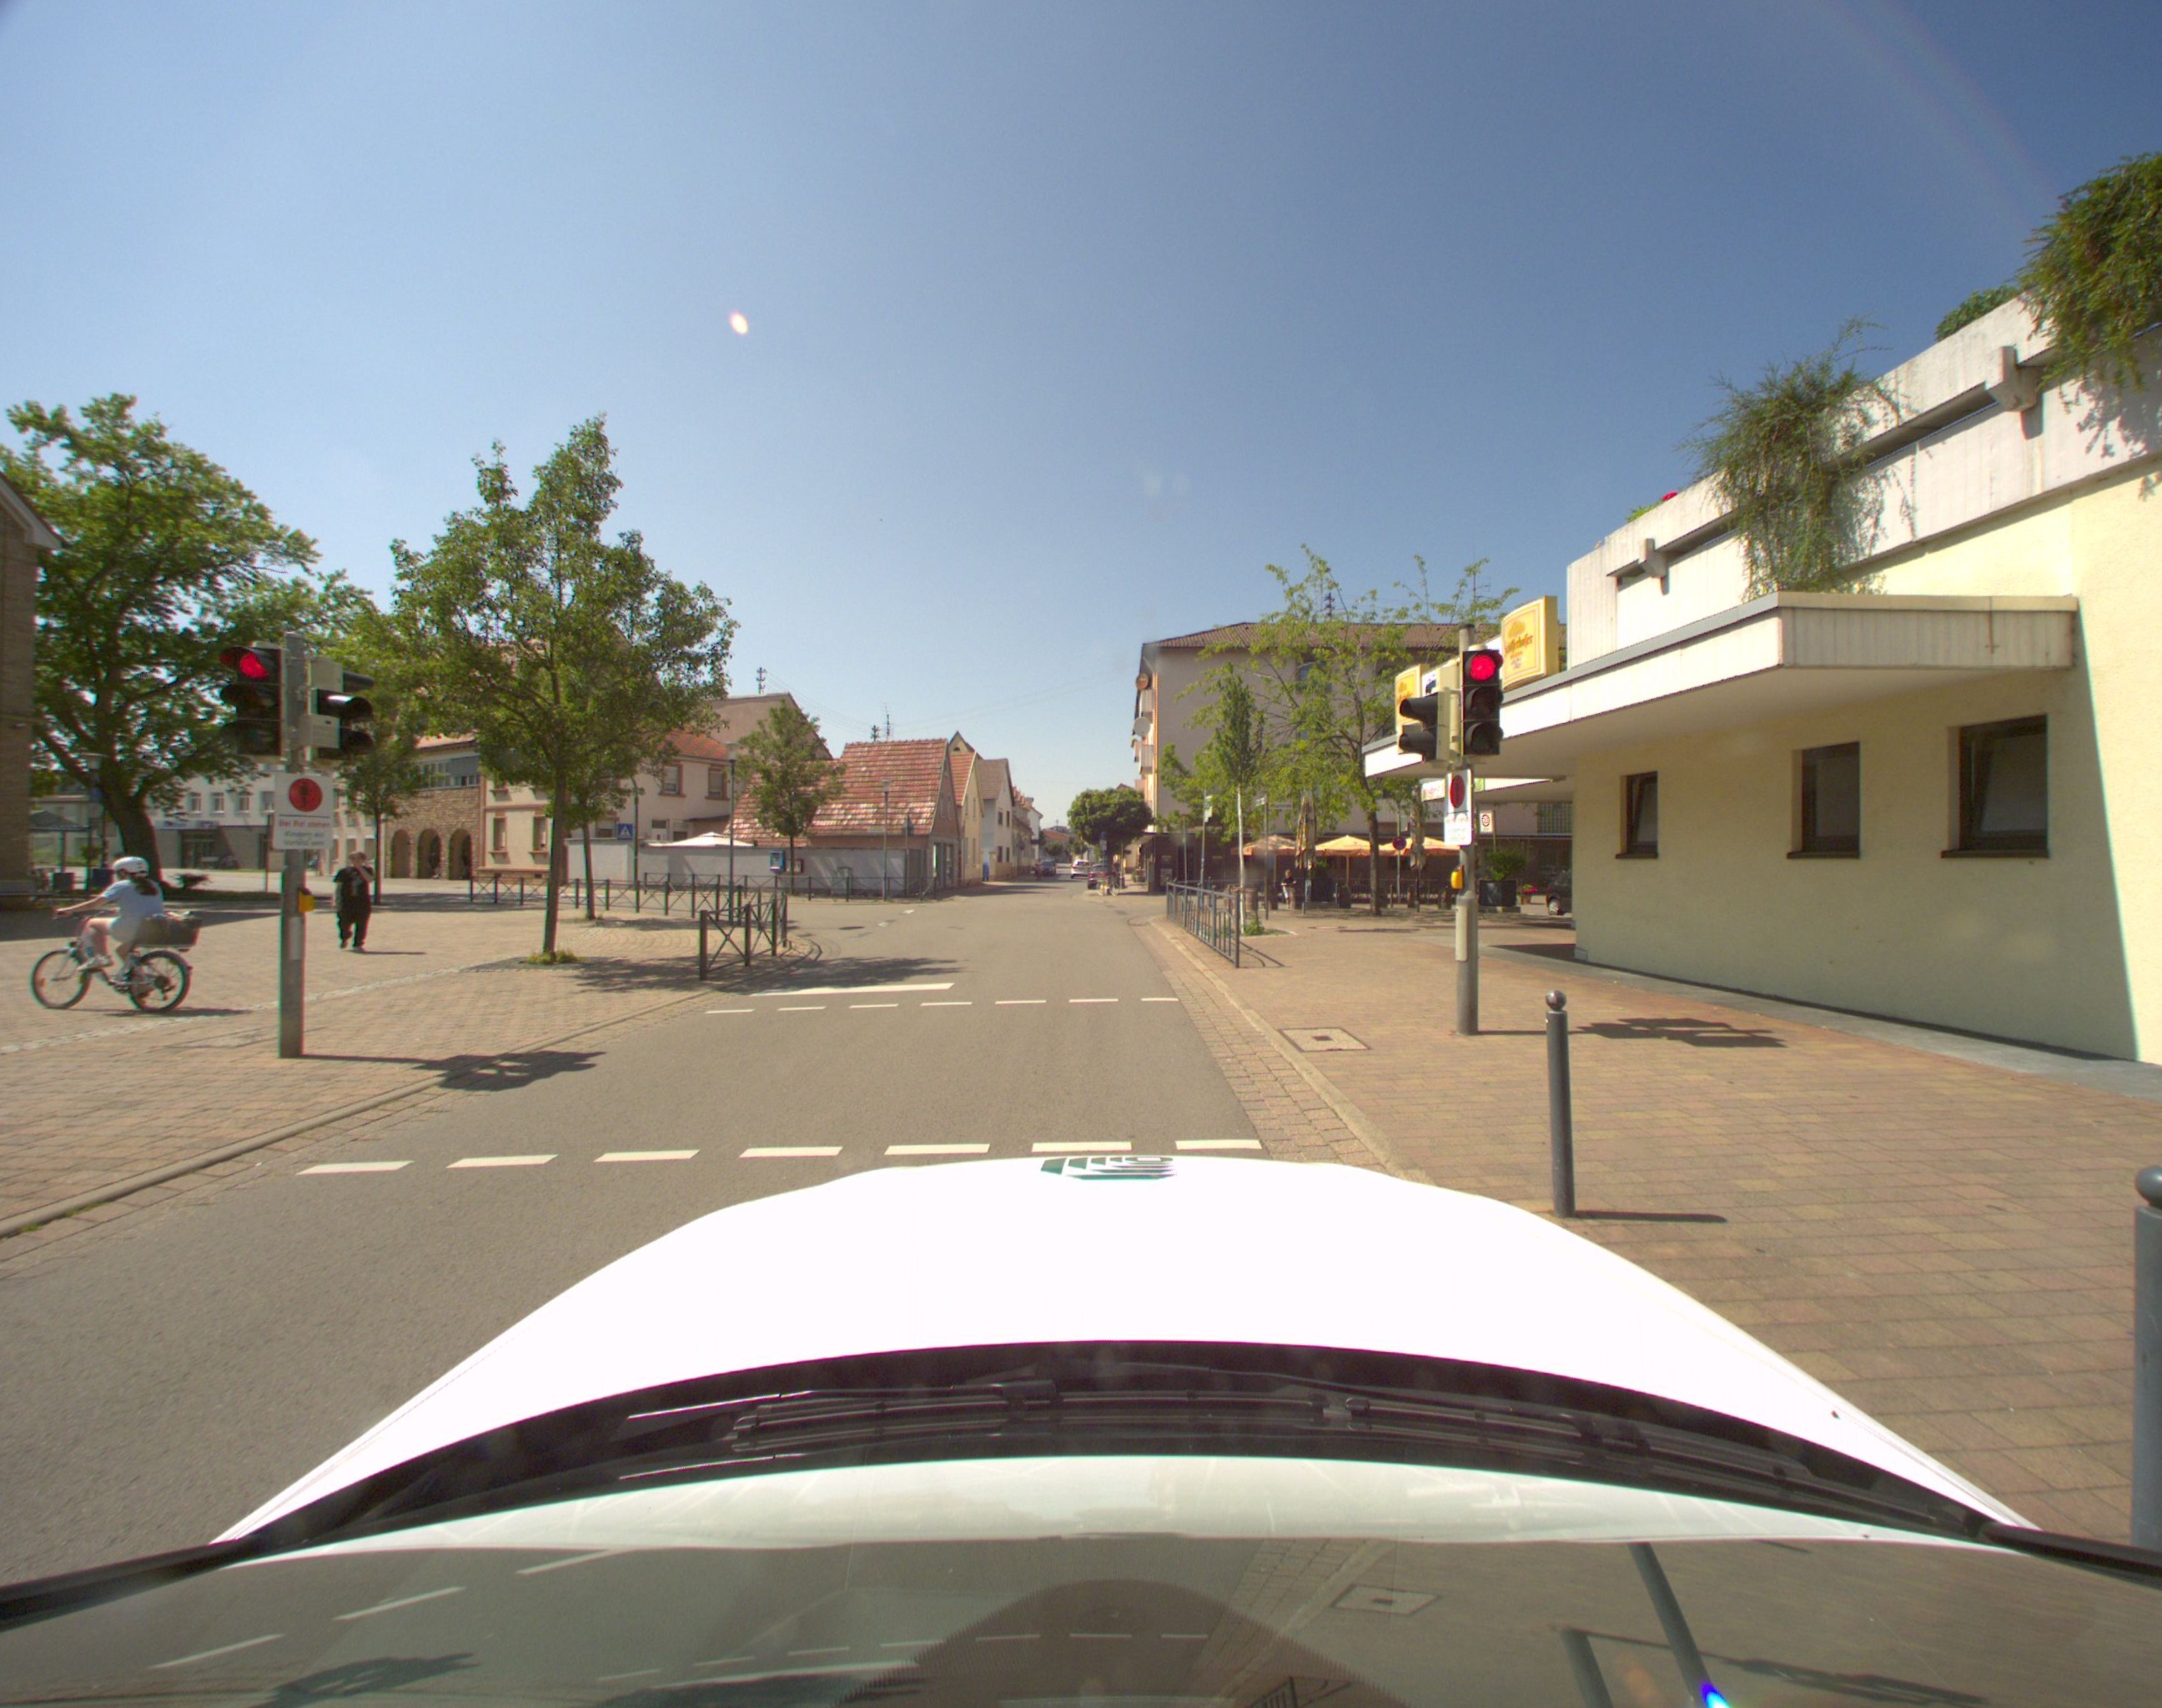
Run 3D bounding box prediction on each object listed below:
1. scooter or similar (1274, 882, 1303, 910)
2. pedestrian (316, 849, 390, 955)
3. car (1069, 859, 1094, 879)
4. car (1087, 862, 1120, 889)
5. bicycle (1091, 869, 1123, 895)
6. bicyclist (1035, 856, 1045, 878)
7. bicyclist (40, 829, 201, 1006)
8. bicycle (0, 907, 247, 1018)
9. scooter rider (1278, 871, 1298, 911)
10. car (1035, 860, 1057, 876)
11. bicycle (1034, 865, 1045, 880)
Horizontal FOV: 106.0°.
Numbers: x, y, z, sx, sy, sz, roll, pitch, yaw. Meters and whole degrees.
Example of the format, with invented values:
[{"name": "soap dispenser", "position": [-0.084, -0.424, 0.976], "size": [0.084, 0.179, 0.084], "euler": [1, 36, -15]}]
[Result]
[{"name": "scooter or similar", "position": [6.762, 1.368, 26.587], "size": [0.381, 0.873, 0.881], "euler": [1, -1, -33]}, {"name": "pedestrian", "position": [-11.875, 0.766, 13.315], "size": [0.818, 1.655, 0.841], "euler": [2, -2, -40]}, {"name": "car", "position": [0.089, 1.255, 69.959], "size": [1.825, 1.652, 4.004], "euler": [0, -1, 4]}, {"name": "car", "position": [1.355, 1.210, 47.506], "size": [1.797, 1.501, 4.003], "euler": [0, 0, 3]}, {"name": "bicycle", "position": [1.242, 1.317, 38.728], "size": [0.530, 1.193, 1.655], "euler": [1, -1, -42]}, {"name": "bicyclist", "position": [-3.130, 0.982, 61.976], "size": [0.666, 1.691, 0.762], "euler": [-1, -1, 1]}, {"name": "bicyclist", "position": [-9.533, 0.609, 8.110], "size": [0.757, 1.664, 0.670], "euler": [-2, 0, -2]}, {"name": "bicycle", "position": [-9.642, 1.060, 8.105], "size": [1.885, 0.958, 0.675], "euler": [-2, 0, -3]}, {"name": "scooter rider", "position": [6.765, 1.205, 26.596], "size": [0.520, 1.286, 0.413], "euler": [1, -1, -34]}, {"name": "car", "position": [-3.369, 1.306, 78.451], "size": [1.707, 1.517, 3.789], "euler": [0, -1, 3]}, {"name": "bicycle", "position": [-3.136, 1.423, 61.915], "size": [0.671, 1.094, 1.896], "euler": [-1, -1, 2]}]
